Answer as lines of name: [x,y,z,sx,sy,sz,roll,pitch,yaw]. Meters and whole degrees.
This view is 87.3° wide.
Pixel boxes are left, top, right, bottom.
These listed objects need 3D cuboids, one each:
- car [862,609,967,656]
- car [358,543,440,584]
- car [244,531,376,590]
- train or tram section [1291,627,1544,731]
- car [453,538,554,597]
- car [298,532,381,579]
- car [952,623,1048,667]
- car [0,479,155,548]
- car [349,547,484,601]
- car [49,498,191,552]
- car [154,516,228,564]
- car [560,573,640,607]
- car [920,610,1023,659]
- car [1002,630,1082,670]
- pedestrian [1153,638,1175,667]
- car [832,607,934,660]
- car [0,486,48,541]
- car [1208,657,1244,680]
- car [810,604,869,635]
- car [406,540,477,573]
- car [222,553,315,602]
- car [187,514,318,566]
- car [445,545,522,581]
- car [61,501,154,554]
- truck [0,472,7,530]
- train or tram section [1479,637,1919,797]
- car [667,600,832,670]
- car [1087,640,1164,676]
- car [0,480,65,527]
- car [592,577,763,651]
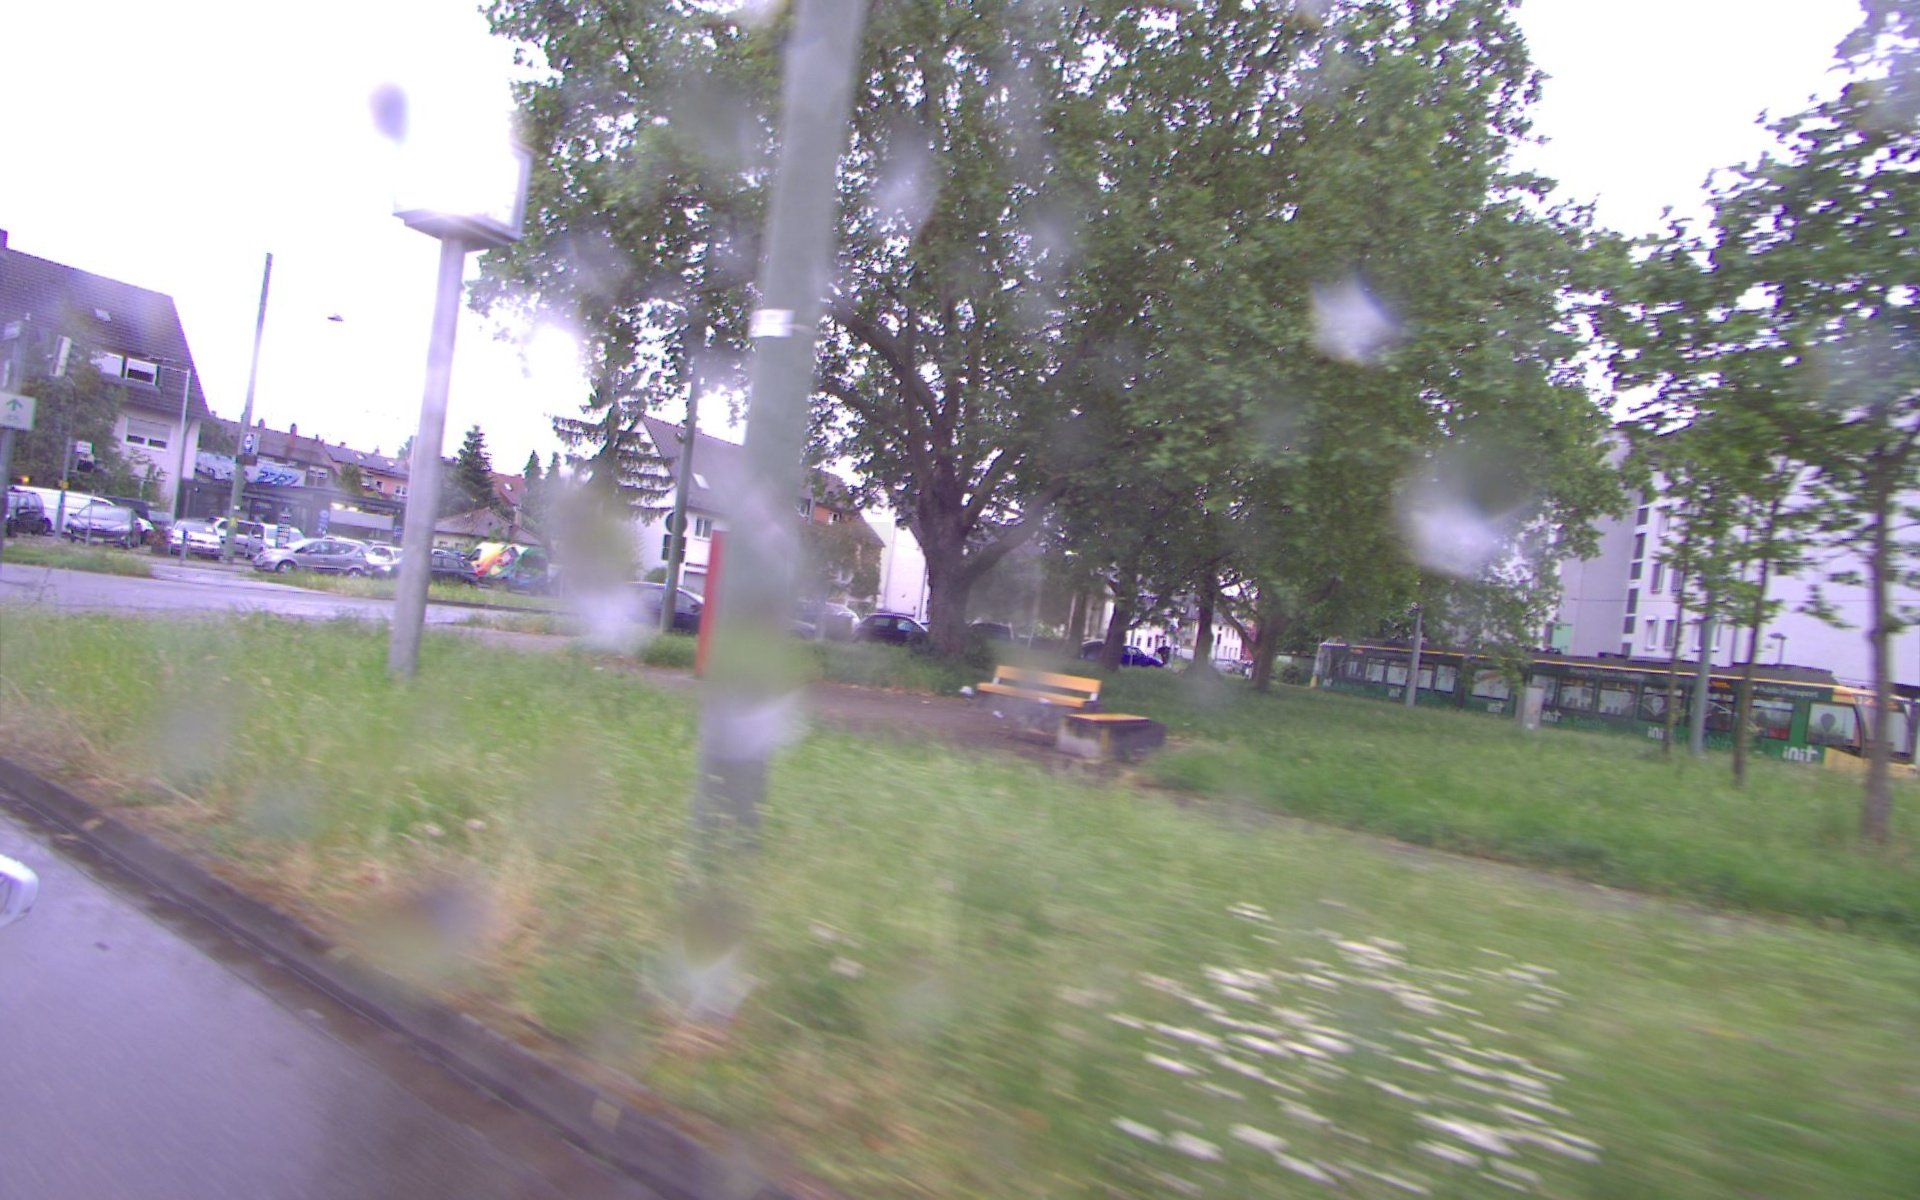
car: [-1.811,1.278,39.176,3.928,1.518,1.824,5,-2,-6]
car: [-26.381,-1.727,47.292,3.781,1.411,1.720,6,-3,34]
car: [-24.305,-1.439,37.746,1.693,1.520,3.643,7,-3,29]
train or tram section: [21.595,3.518,49.408,2.672,3.630,14.707,9,-2,-12]
car: [-24.324,-1.736,53.560,5.062,2.432,2.151,7,-3,31]
car: [-27.950,-2.004,45.301,3.560,1.590,1.720,6,-3,35]
car: [1.713,1.986,44.508,4.046,1.498,1.867,6,-1,-1]
car: [-35.532,-3.431,40.428,1.968,2.037,4.438,6,-2,33]
car: [-20.608,-0.961,38.295,1.966,1.494,3.995,7,-1,29]
car: [-37.812,-3.333,45.384,1.968,1.707,4.438,6,-2,33]
car: [-30.497,-2.395,39.856,1.824,1.521,4.010,11,-4,-43]
car: [-20.586,-0.569,57.643,1.966,1.585,3.884,7,2,30]
car: [0.440,1.442,41.553,3.929,1.570,1.961,7,-3,-6]
car: [3.844,2.340,47.277,3.530,1.498,1.639,6,-1,5]
pedestrian: [13.407,3.467,66.126,1.029,1.734,1.079,6,-1,27]
car: [-2.764,1.223,36.326,3.453,1.523,1.755,6,-2,-5]
car: [-33.683,-3.092,34.829,1.976,1.737,3.975,7,-1,-26]
car: [22.526,5.829,85.161,1.928,1.570,3.997,5,-3,30]
car: [-7.816,1.279,65.430,1.579,1.439,3.942,7,-3,31]
car: [-34.291,-2.843,66.682,1.759,1.599,4.452,6,-2,9]
car: [-29.392,-0.958,42.746,3.808,1.598,1.804,7,0,33]
car: [-32.088,-2.691,45.771,1.732,1.707,4.438,6,-2,33]
car: [-28.349,-2.153,60.016,1.829,1.599,4.404,6,-2,9]
car: [-31.991,-2.662,37.869,1.816,1.521,4.028,10,-3,-30]
truck: [-41.087,-4.320,38.764,6.057,2.299,1.978,8,-2,-40]
train or tram section: [24.707,3.546,35.018,2.672,3.630,14.707,9,-2,-12]
car: [-6.362,1.055,30.670,4.463,1.494,1.805,7,-1,5]
car: [9.466,3.335,57.707,3.926,1.502,1.999,7,0,0]
car: [-41.827,-4.341,43.321,1.968,1.707,4.438,6,-2,33]
car: [-7.809,0.399,28.071,4.099,1.494,1.805,7,-1,1]
